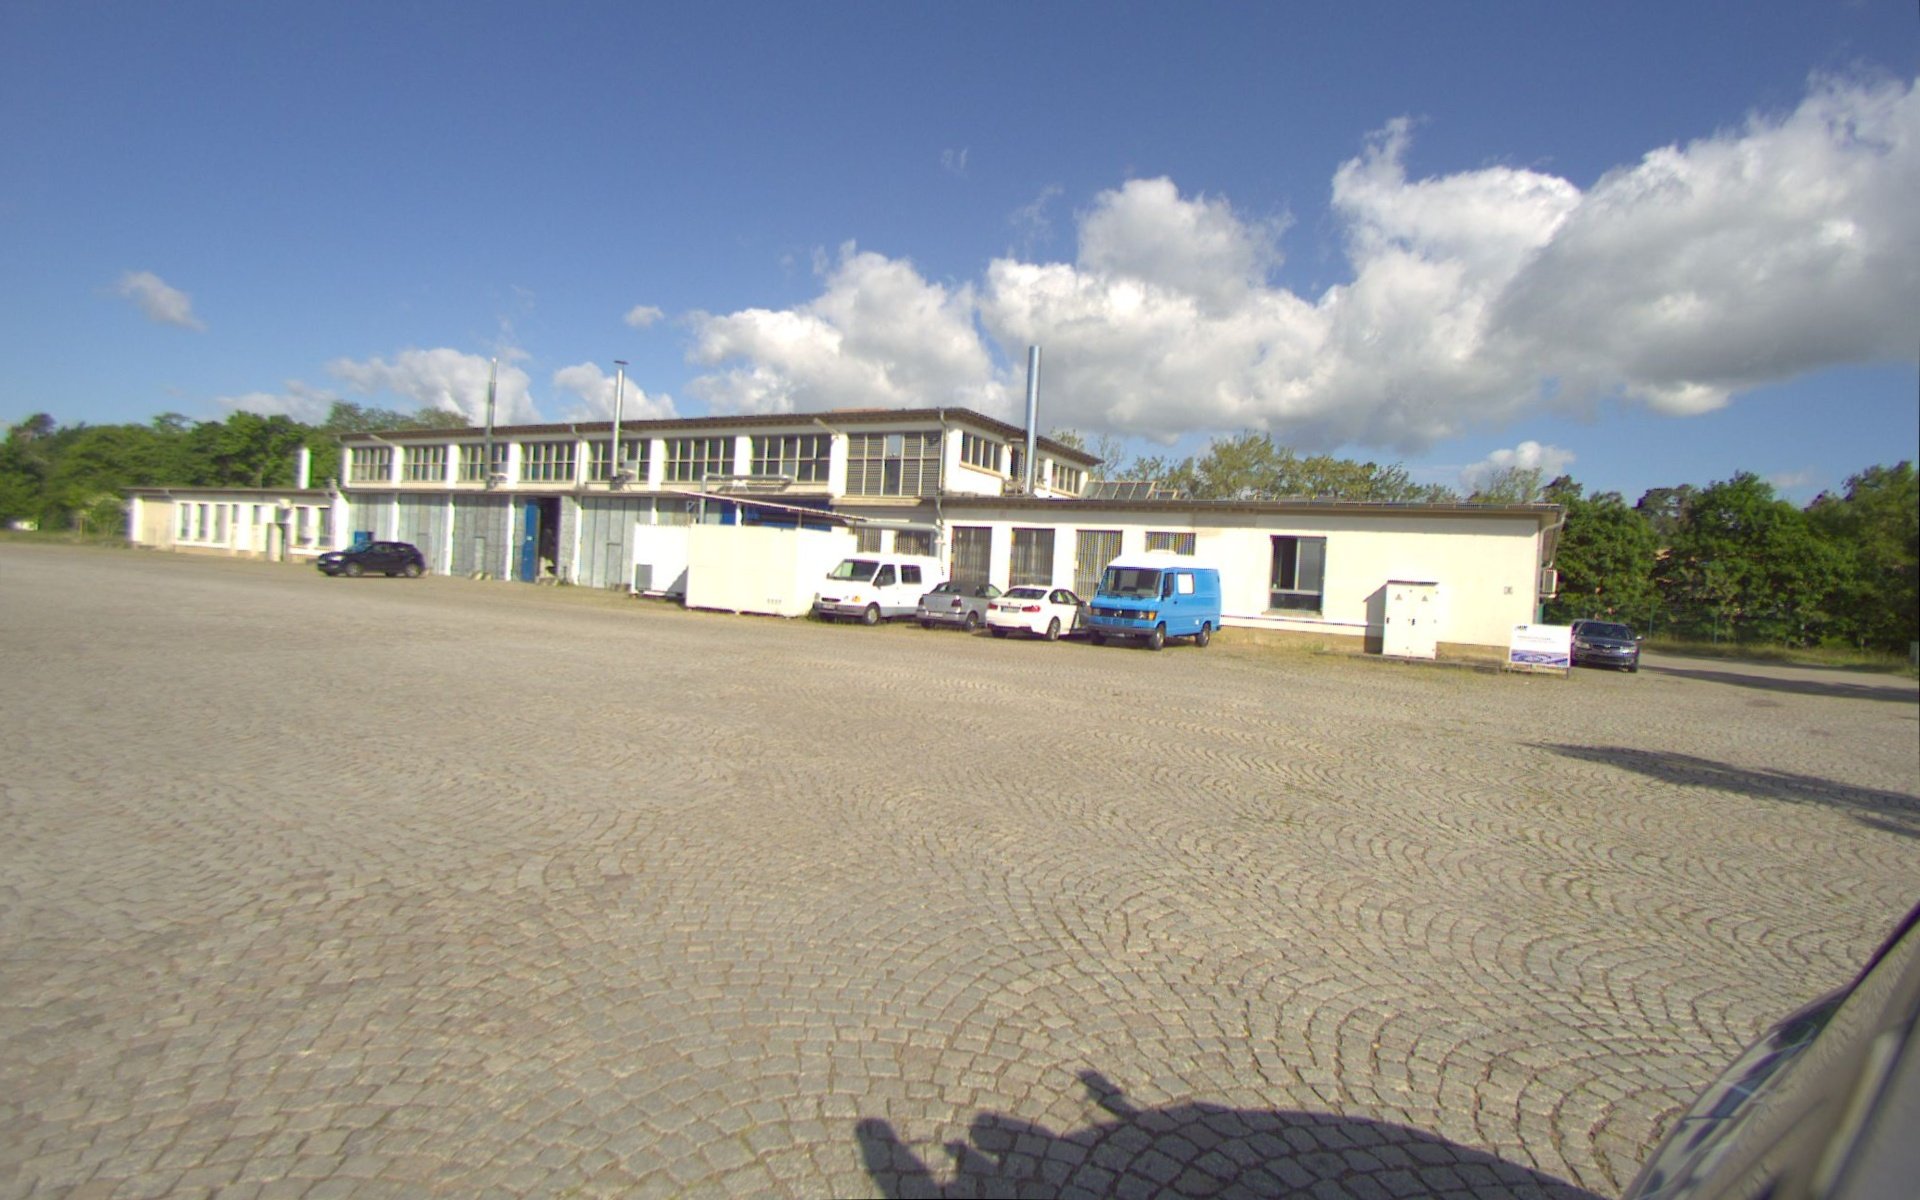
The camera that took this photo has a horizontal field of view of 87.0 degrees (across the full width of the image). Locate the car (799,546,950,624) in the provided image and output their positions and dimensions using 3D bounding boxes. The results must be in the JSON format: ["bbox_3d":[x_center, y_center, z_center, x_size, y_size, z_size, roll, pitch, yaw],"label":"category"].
[{"bbox_3d":[-2.470,-0.440,30.595,1.996,2.107,4.747,3,2,33],"label":"car"}]

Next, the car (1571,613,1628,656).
[{"bbox_3d":[25.036,1.317,39.728,1.679,1.453,3.942,4,1,31],"label":"car"}]

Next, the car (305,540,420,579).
[{"bbox_3d":[-26.083,-1.736,44.307,1.726,1.488,4.035,3,2,29],"label":"car"}]

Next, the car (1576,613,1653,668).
[{"bbox_3d":[20.063,1.198,31.145,1.756,1.453,3.947,4,1,31],"label":"car"}]

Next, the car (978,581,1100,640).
[{"bbox_3d":[2.200,0.238,27.315,1.726,1.423,3.695,3,2,33],"label":"car"}]

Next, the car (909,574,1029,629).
[{"bbox_3d":[0.331,0.070,29.573,1.681,1.416,3.786,4,1,33],"label":"car"}]

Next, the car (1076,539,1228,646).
[{"bbox_3d":[5.230,-0.161,26.958,2.075,2.514,5.175,3,1,33],"label":"car"}]
